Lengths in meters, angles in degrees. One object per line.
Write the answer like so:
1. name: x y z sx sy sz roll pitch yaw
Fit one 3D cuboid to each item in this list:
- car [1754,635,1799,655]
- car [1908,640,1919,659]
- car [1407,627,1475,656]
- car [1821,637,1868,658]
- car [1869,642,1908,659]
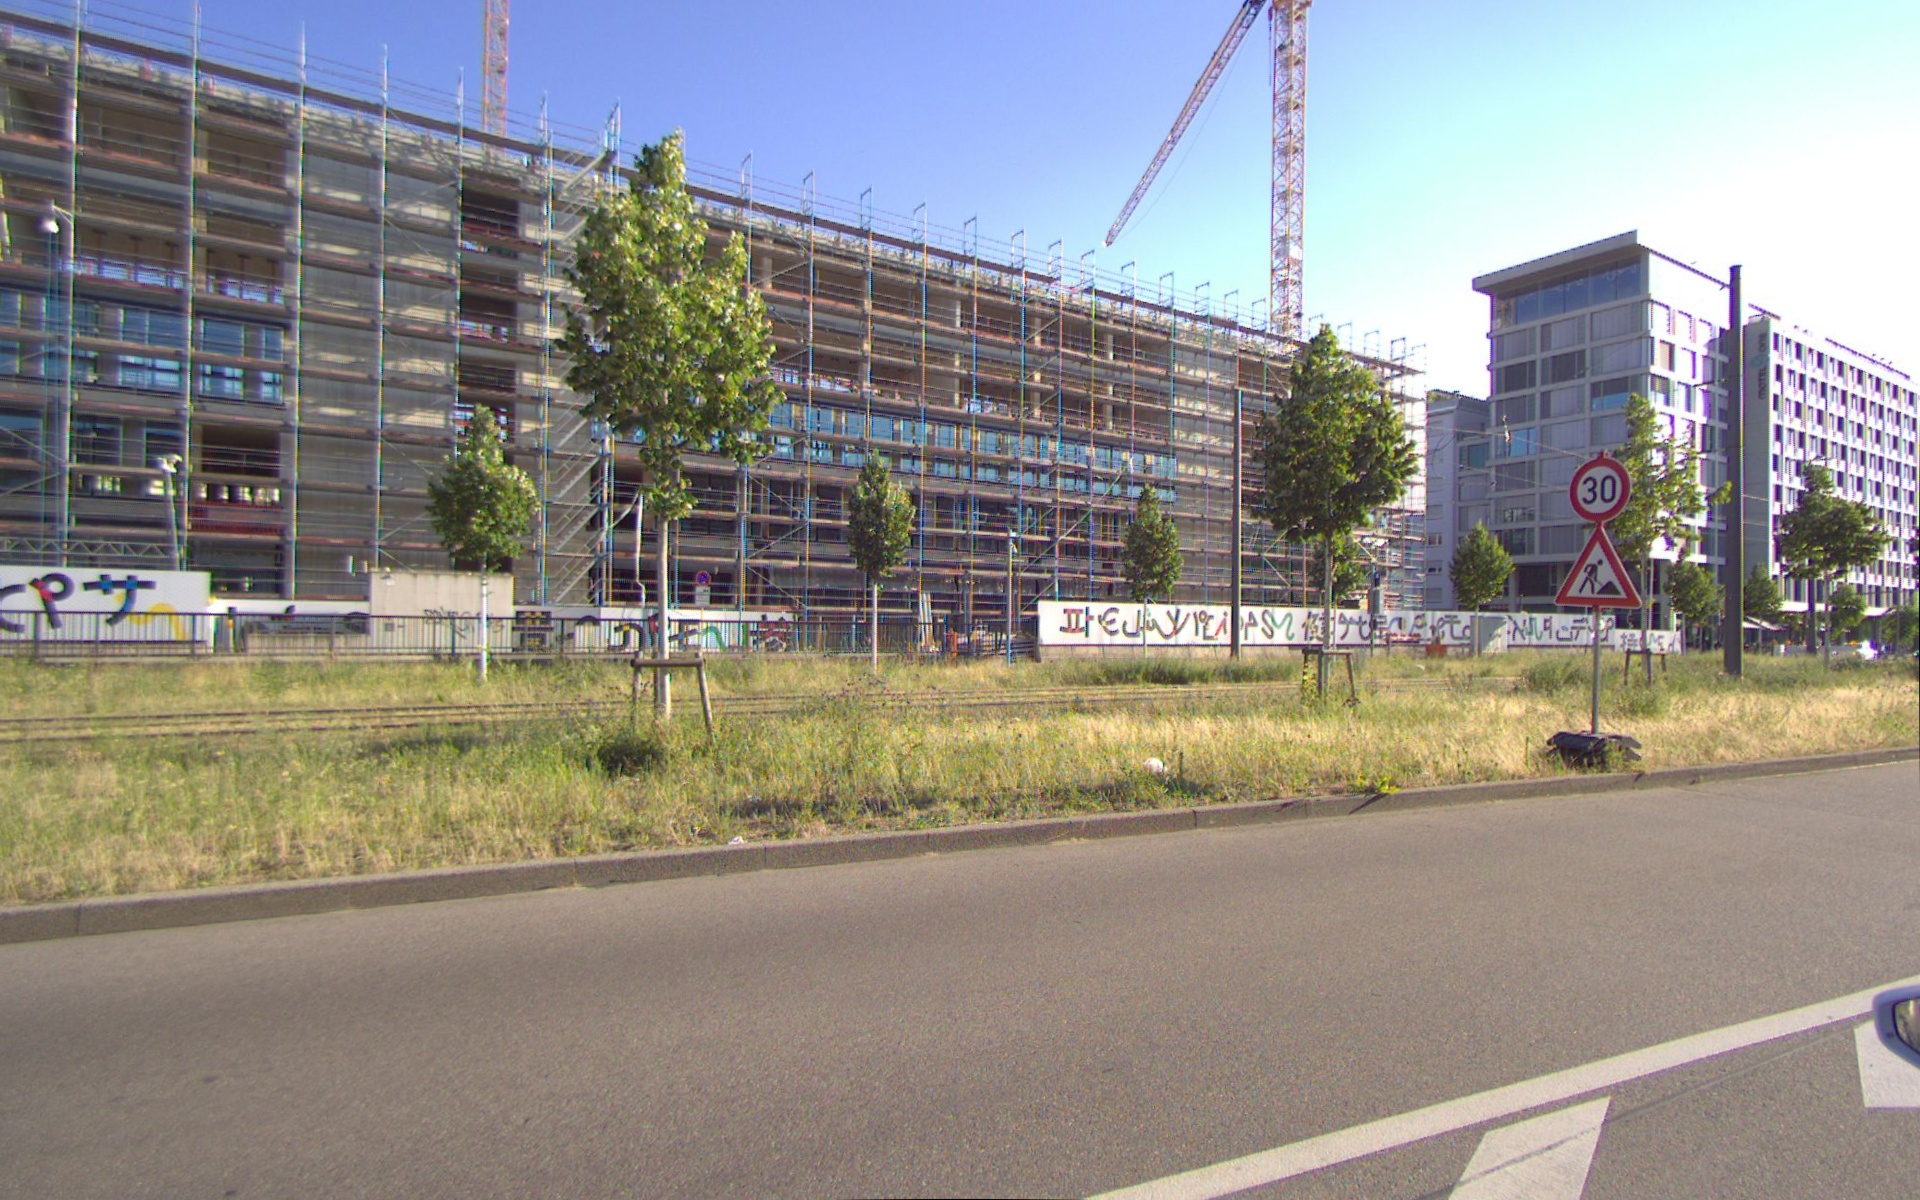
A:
1. car: 63.363 3.484 77.936 3.543 1.461 1.699 2 0 -32
2. car: 74.105 3.806 76.678 3.543 1.461 1.699 2 0 -32
3. car: 26.094 2.241 54.435 3.543 1.461 1.699 2 0 -32
4. car: 66.946 3.585 76.025 3.543 1.461 1.699 2 0 -32
5. car: 84.033 4.561 90.891 3.543 1.461 1.699 2 0 -32
